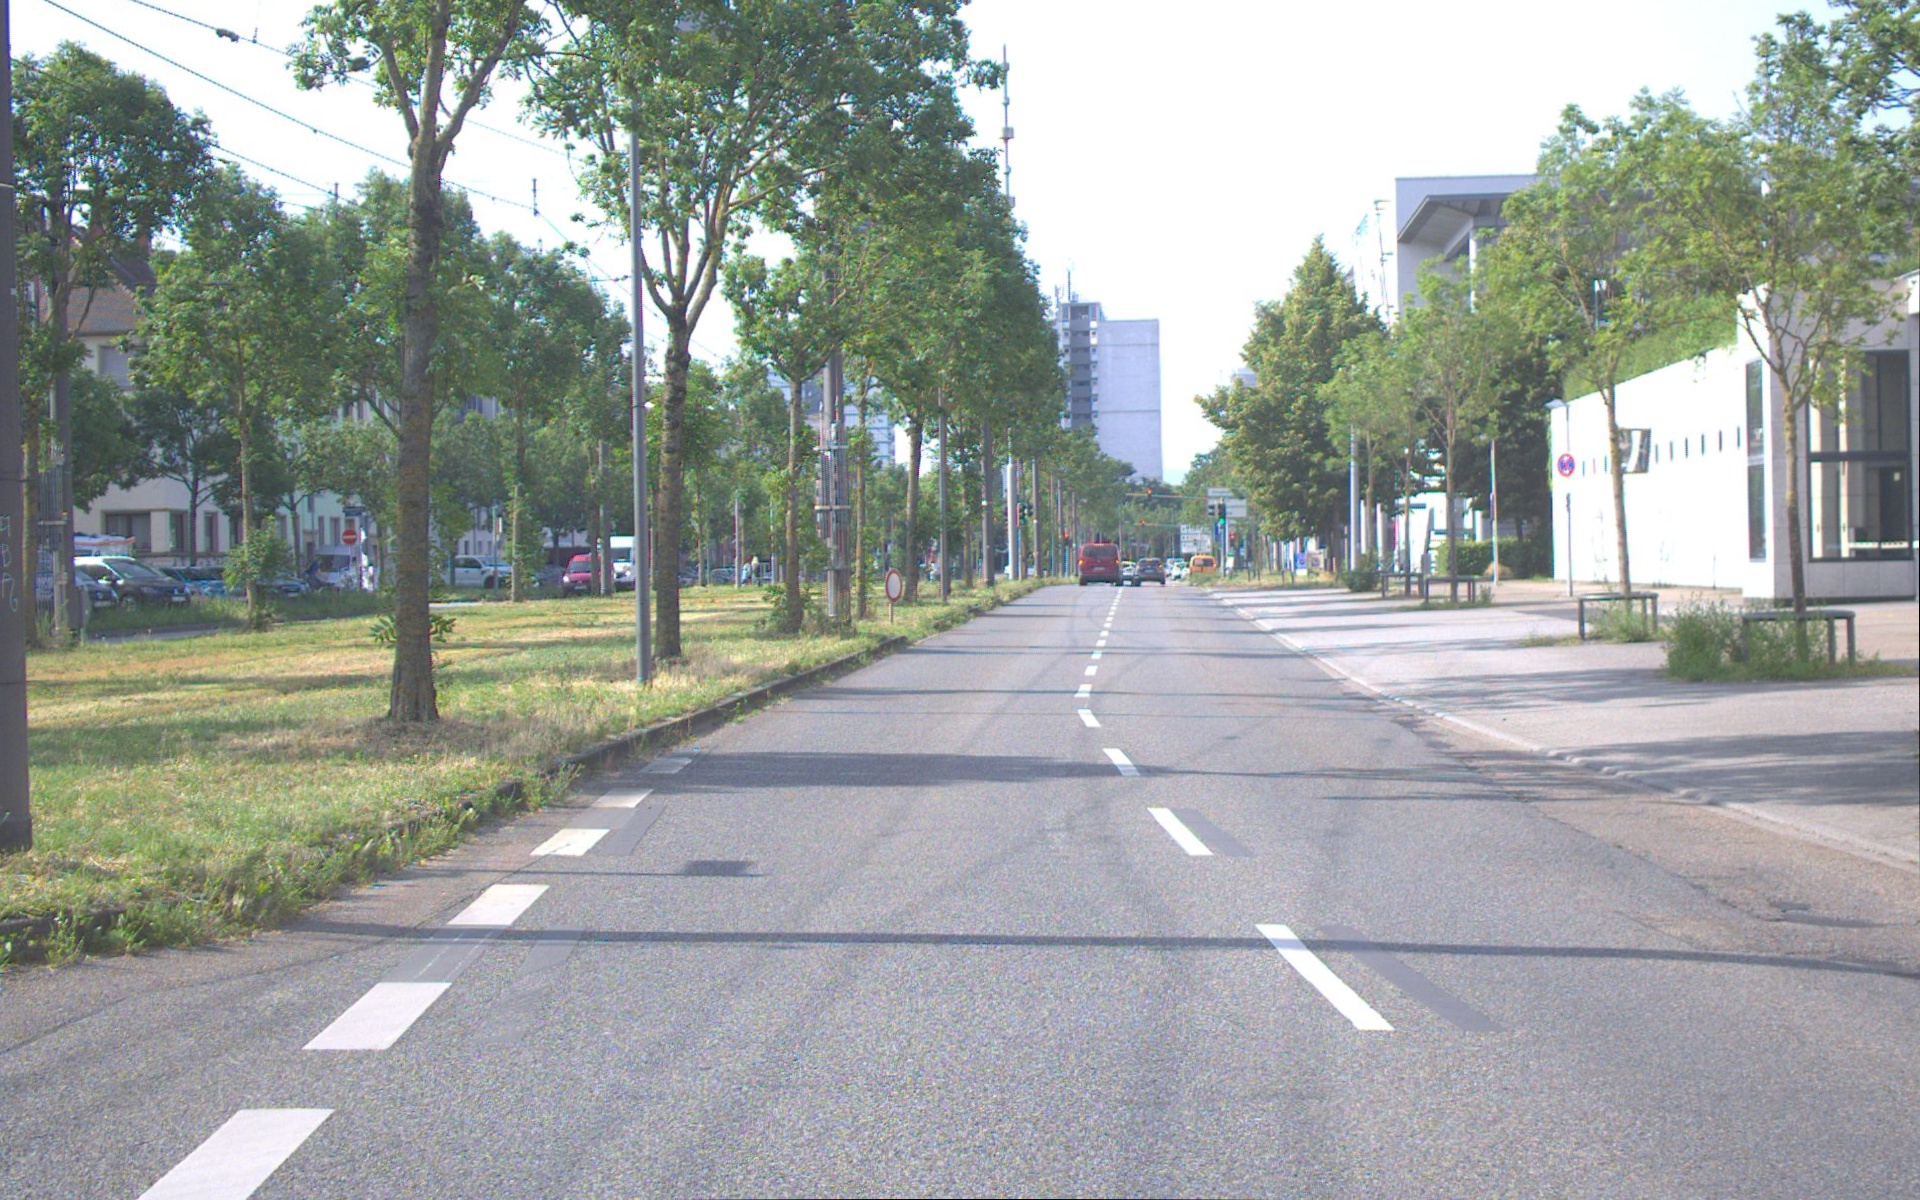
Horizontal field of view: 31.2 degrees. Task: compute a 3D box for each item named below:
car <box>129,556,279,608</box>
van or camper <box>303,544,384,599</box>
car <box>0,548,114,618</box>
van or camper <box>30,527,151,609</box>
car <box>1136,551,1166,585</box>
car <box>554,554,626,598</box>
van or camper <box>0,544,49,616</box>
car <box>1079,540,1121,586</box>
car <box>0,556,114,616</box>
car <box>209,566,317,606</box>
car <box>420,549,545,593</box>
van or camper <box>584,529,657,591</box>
[{"bbox_3d":[-21.681,-0.526,98.578,3.991,1.412,1.575,1,0,22],"label":"car"},{"bbox_3d":[-26.805,-1.235,149.611,1.994,2.320,5.827,1,0,5],"label":"van or camper"},{"bbox_3d":[-22.828,-0.438,82.193,5.215,1.618,2.053,1,1,34],"label":"car"},{"bbox_3d":[-28.264,-1.025,111.932,2.039,2.558,6.356,1,0,2],"label":"van or camper"},{"bbox_3d":[11.610,-1.914,208.458,1.748,2.007,3.215,1,0,4],"label":"car"},{"bbox_3d":[-14.878,-0.976,138.402,1.965,1.688,4.296,1,0,7],"label":"car"},{"bbox_3d":[-23.544,-0.506,79.776,4.845,1.618,1.998,2,1,36],"label":"van or camper"},{"bbox_3d":[6.317,-1.654,154.539,1.748,2.007,3.215,1,0,4],"label":"car"},{"bbox_3d":[-23.247,-0.367,85.106,4.471,1.414,1.971,1,1,34],"label":"car"},{"bbox_3d":[-21.346,-0.433,105.283,3.161,1.157,1.494,1,1,36],"label":"car"},{"bbox_3d":[-20.024,-1.232,144.163,5.321,1.732,1.996,2,1,37],"label":"car"},{"bbox_3d":[-14.301,-1.694,145.321,2.203,2.522,6.030,1,0,2],"label":"van or camper"}]
